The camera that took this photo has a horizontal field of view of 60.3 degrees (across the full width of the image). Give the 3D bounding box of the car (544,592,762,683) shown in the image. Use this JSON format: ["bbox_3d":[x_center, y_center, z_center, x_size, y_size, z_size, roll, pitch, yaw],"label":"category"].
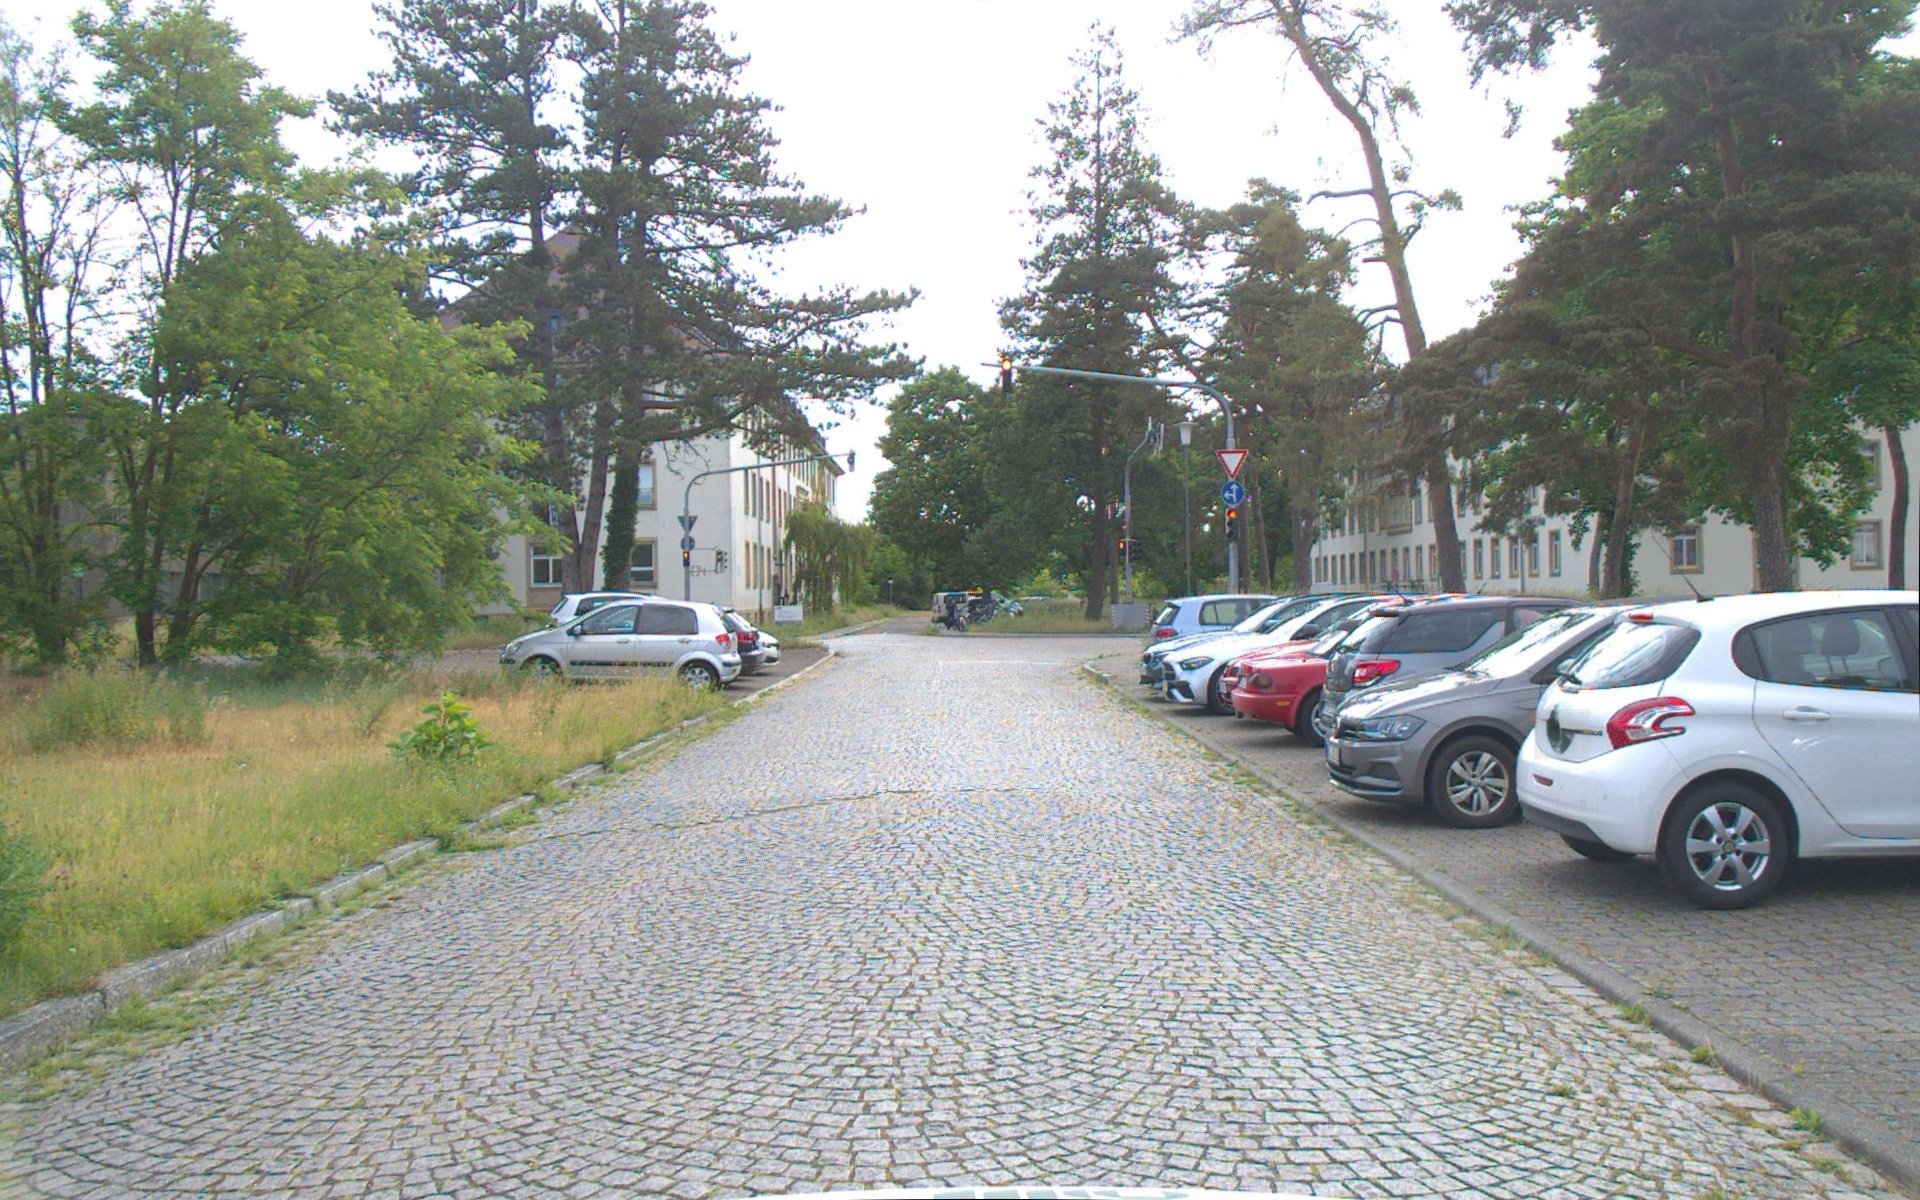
[{"bbox_3d":[-5.800,0.696,31.598,3.869,1.590,1.649,2,0,-3],"label":"car"}]

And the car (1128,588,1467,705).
[{"bbox_3d":[4.942,0.657,24.650,4.588,1.441,1.870,-3,0,-3],"label":"car"}]

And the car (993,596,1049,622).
[{"bbox_3d":[3.581,0.518,97.899,3.167,1.441,1.724,-1,0,-3],"label":"car"}]

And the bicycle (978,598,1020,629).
[{"bbox_3d":[1.820,0.640,77.387,1.918,1.408,0.587,-1,0,-7],"label":"bicycle"}]

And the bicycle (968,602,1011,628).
[{"bbox_3d":[1.358,0.705,75.919,1.918,1.152,0.587,-1,0,-7],"label":"bicycle"}]

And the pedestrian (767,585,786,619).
[{"bbox_3d":[-10.154,0.109,91.580,0.766,1.869,0.733,-1,0,-32],"label":"pedestrian"}]

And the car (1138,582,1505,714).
[{"bbox_3d":[4.737,0.596,21.962,4.341,1.441,1.867,-3,0,-9],"label":"car"}]

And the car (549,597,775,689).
[{"bbox_3d":[-5.131,0.731,28.823,3.671,1.453,1.581,2,0,-3],"label":"car"}]

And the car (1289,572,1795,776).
[{"bbox_3d":[5.008,0.610,14.584,3.784,1.497,1.757,-3,0,-2],"label":"car"}]

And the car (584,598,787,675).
[{"bbox_3d":[-5.614,0.735,34.141,3.867,1.446,1.650,2,0,-1],"label":"car"}]

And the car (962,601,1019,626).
[{"bbox_3d":[1.678,0.712,90.628,2.948,1.290,1.533,-1,0,-6],"label":"car"}]

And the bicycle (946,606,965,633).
[{"bbox_3d":[-0.203,0.832,72.711,0.591,1.152,1.959,-1,0,-6],"label":"bicycle"}]

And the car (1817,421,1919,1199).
[{"bbox_3d":[4.717,0.441,3.508,4.711,1.979,2.002,-3,0,-2],"label":"car"}]

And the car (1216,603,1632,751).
[{"bbox_3d":[4.726,0.759,17.206,3.784,1.257,1.757,-3,0,-2],"label":"car"}]

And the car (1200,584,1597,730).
[{"bbox_3d":[5.111,0.642,19.696,4.175,1.441,1.871,-3,0,-1],"label":"car"}]

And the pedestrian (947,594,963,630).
[{"bbox_3d":[-0.234,0.542,76.978,0.723,1.647,0.776,-1,0,0],"label":"pedestrian"}]

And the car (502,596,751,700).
[{"bbox_3d":[-5.218,0.743,26.225,3.629,1.505,1.581,2,0,-3],"label":"car"}]

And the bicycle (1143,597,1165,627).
[{"bbox_3d":[7.473,0.463,63.852,0.574,1.125,1.961,-1,0,0],"label":"bicycle"}]

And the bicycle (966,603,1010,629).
[{"bbox_3d":[1.294,0.730,76.552,1.918,1.136,0.587,-1,0,-7],"label":"bicycle"}]

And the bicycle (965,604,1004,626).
[{"bbox_3d":[1.235,0.747,83.070,1.930,1.088,0.583,-1,0,-25],"label":"bicycle"}]

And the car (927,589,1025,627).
[{"bbox_3d":[0.916,0.446,94.001,5.262,1.958,2.020,-2,0,-9],"label":"car"}]

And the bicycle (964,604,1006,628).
[{"bbox_3d":[1.184,0.756,78.034,1.934,1.088,0.582,-1,0,-30],"label":"bicycle"}]

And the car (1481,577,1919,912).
[{"bbox_3d":[4.986,0.649,8.844,3.784,1.497,1.757,-3,0,-2],"label":"car"}]

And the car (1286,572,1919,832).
[{"bbox_3d":[4.430,0.655,11.708,3.787,1.497,1.756,-3,0,-4],"label":"car"}]

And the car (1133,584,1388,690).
[{"bbox_3d":[4.856,0.587,27.101,3.846,1.503,1.643,-3,0,1],"label":"car"}]
